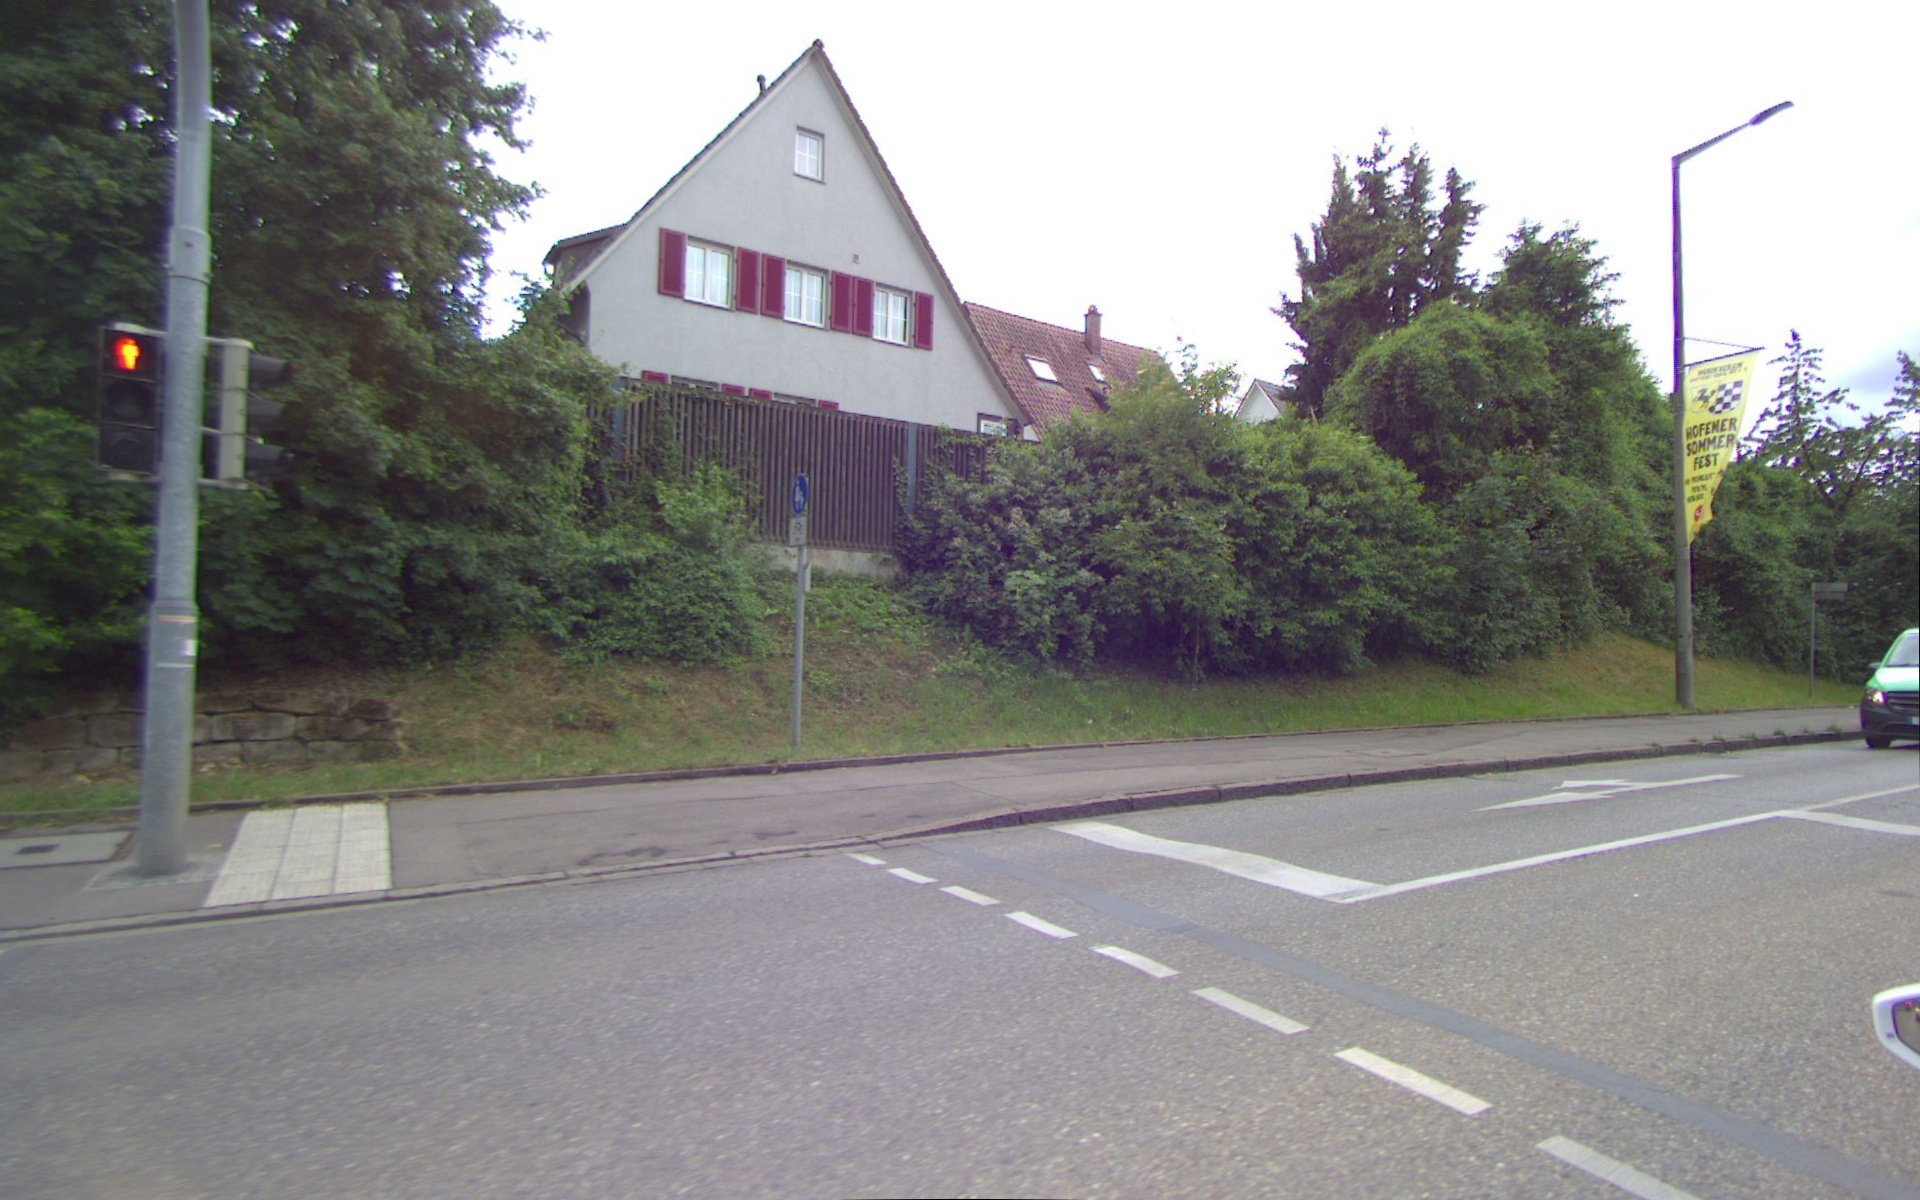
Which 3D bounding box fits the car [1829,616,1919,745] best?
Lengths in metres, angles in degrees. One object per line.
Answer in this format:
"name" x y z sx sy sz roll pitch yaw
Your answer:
"car" 15.637 1.224 15.520 4.678 1.833 2.048 2 -4 -32
